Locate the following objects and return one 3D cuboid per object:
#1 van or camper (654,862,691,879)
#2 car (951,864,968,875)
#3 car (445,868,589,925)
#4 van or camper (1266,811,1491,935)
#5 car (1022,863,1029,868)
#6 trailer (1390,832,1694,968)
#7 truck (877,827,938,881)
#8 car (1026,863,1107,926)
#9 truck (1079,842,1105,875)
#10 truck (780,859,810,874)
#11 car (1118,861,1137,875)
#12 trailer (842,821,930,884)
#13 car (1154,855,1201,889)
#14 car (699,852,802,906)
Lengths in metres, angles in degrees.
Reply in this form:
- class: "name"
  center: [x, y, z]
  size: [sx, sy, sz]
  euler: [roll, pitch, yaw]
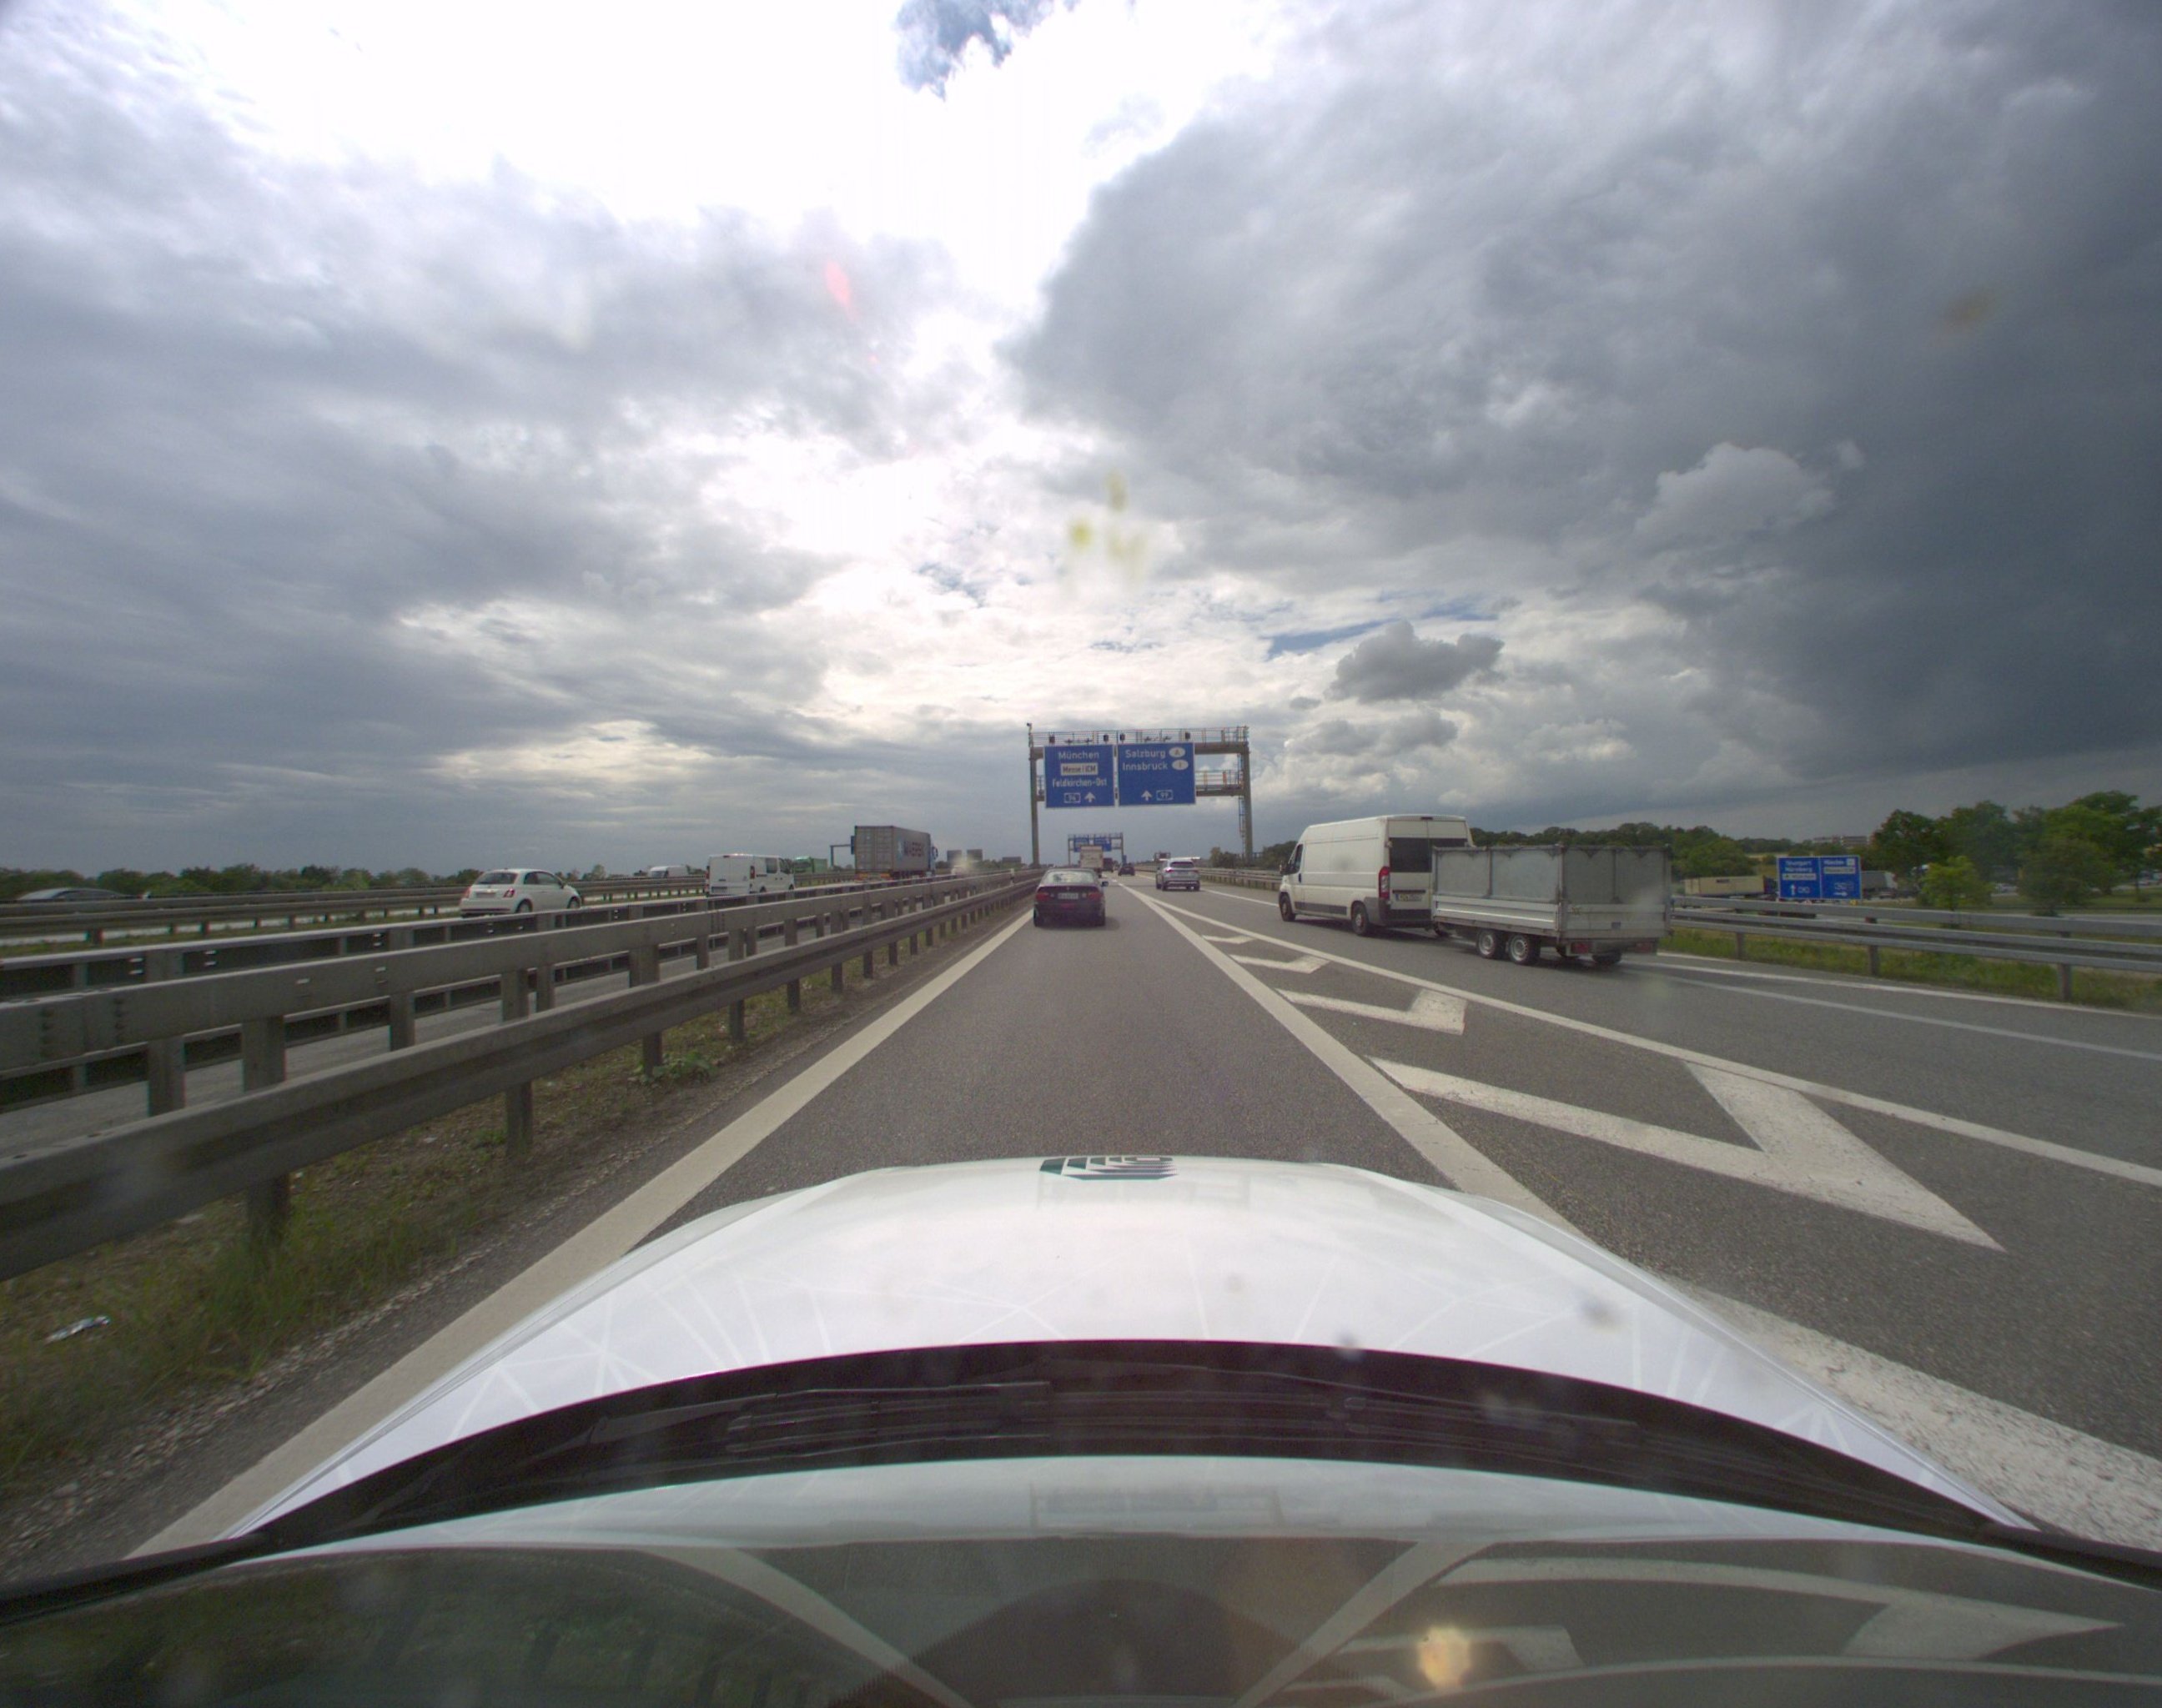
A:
- class: "van or camper"
  center: [-45.560, 1.836, 90.868]
  size: [1.987, 1.849, 4.229]
  euler: [0, -1, 0]
- class: "car"
  center: [-15.618, 1.940, 104.858]
  size: [1.747, 1.369, 4.202]
  euler: [-1, -1, -2]
- class: "car"
  center: [-16.499, 1.182, 24.057]
  size: [1.676, 1.485, 3.771]
  euler: [-2, -1, -2]
- class: "van or camper"
  center: [6.401, 0.395, 18.577]
  size: [2.223, 2.361, 5.920]
  euler: [0, -1, -9]
- class: "car"
  center: [-16.341, 3.435, 241.725]
  size: [1.887, 1.598, 4.414]
  euler: [0, -1, -2]
- class: "trailer"
  center: [7.192, 0.644, 13.380]
  size: [1.993, 1.841, 4.492]
  euler: [0, -1, -9]
- class: "truck"
  center: [-13.298, 0.010, 63.152]
  size: [3.236, 3.912, 6.609]
  euler: [0, 0, 0]
- class: "car"
  center: [-0.273, 0.914, 20.041]
  size: [1.776, 1.378, 4.138]
  euler: [0, 0, 1]
- class: "truck"
  center: [1.085, 0.434, 79.417]
  size: [2.395, 3.090, 6.372]
  euler: [0, 0, 1]
- class: "truck"
  center: [-45.568, 1.968, 130.085]
  size: [2.349, 2.236, 6.427]
  euler: [0, -1, 2]
- class: "car"
  center: [5.107, 1.531, 90.158]
  size: [1.986, 1.552, 4.001]
  euler: [0, -1, 2]
- class: "trailer"
  center: [-13.286, -0.025, 57.015]
  size: [3.226, 3.924, 12.376]
  euler: [0, -1, 0]
- class: "car"
  center: [4.962, 0.906, 42.347]
  size: [1.930, 1.685, 4.208]
  euler: [-1, 0, 0]
- class: "car"
  center: [-13.016, 0.931, 32.462]
  size: [1.993, 1.938, 5.131]
  euler: [-1, -1, 0]
